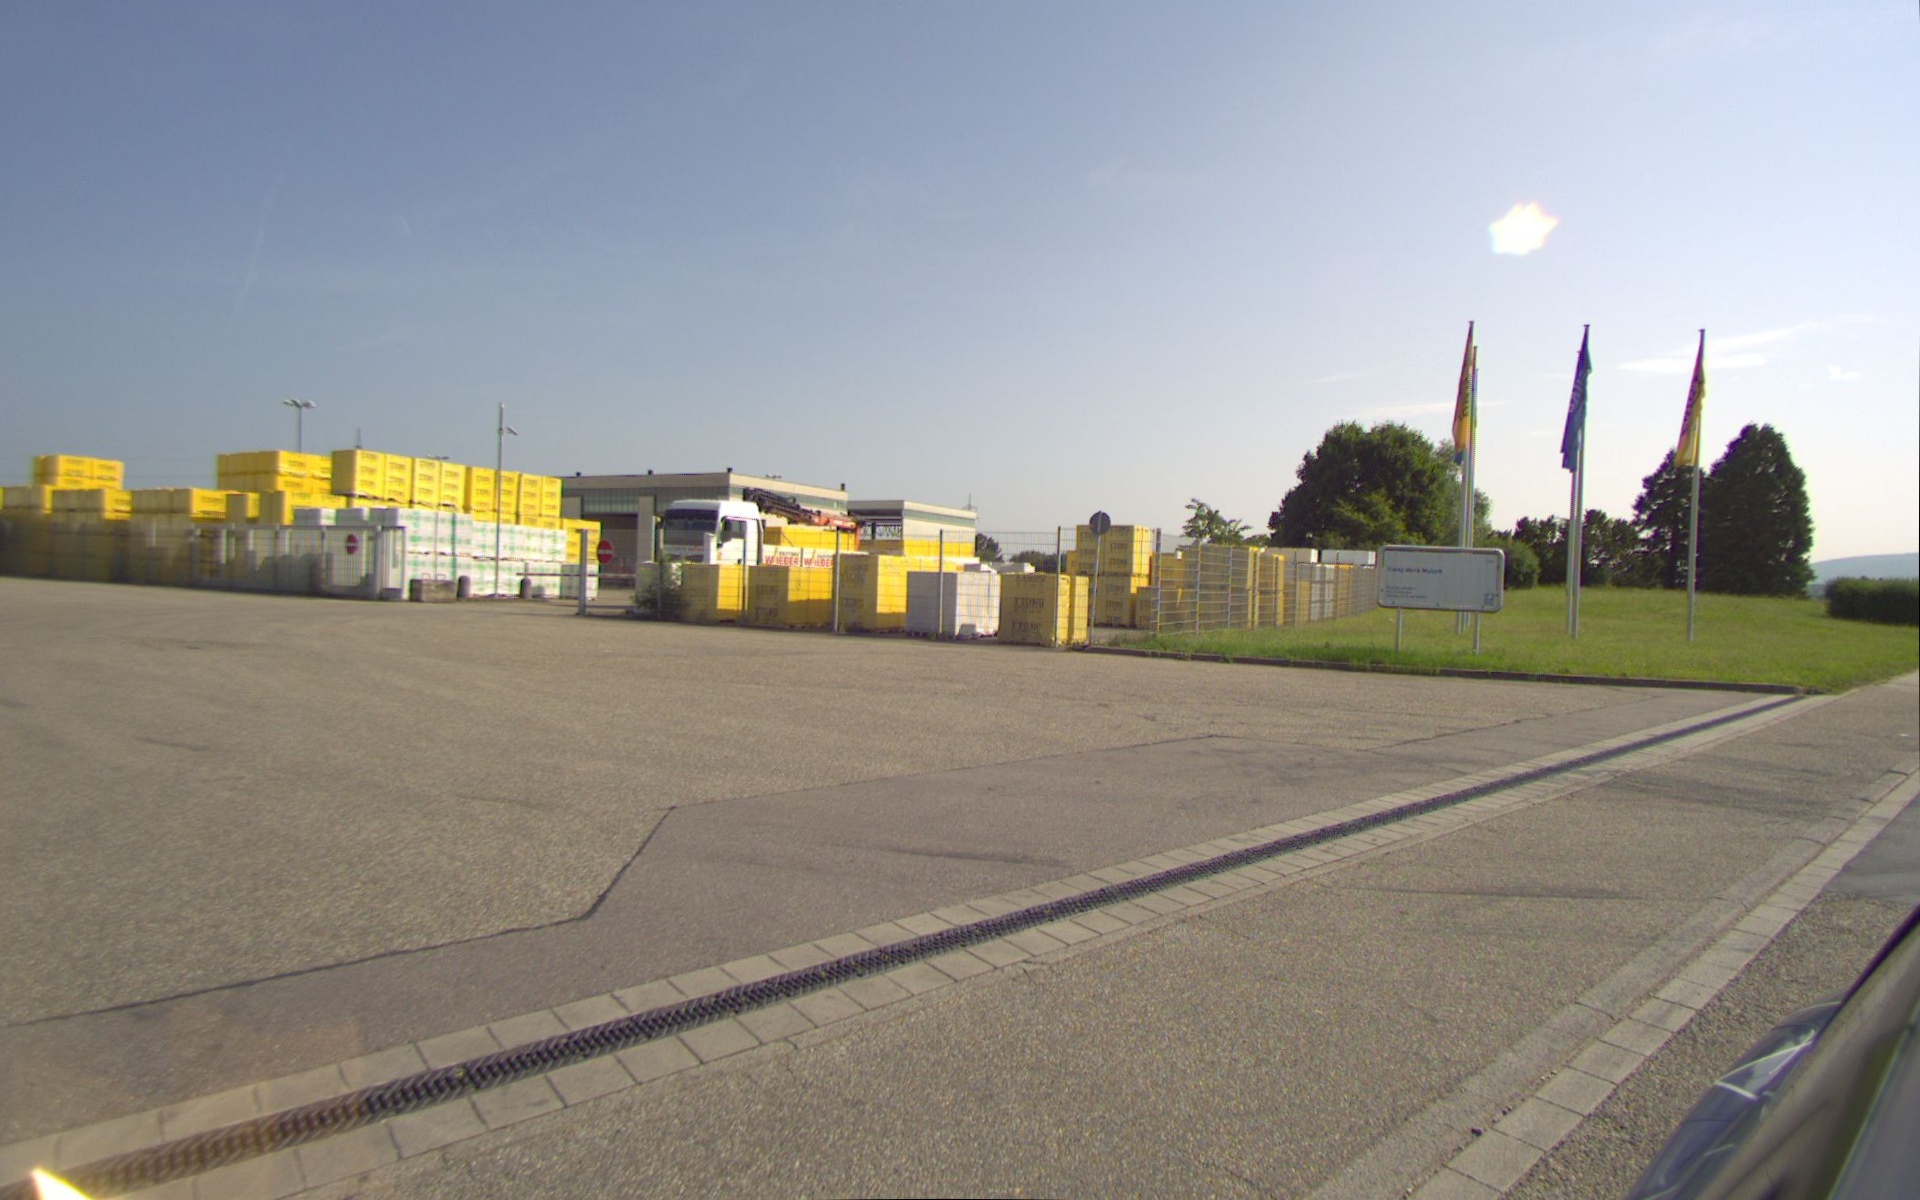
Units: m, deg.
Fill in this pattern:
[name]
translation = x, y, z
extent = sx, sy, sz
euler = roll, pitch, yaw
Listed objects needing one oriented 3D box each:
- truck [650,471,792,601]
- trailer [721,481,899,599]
[truck]
translation = -7.684, -1.957, 32.818
extent = 2.521, 3.924, 3.962
euler = 0, 1, 27
[trailer]
translation = -5.300, -2.056, 37.443
extent = 2.461, 3.924, 7.728
euler = 0, 1, 27
